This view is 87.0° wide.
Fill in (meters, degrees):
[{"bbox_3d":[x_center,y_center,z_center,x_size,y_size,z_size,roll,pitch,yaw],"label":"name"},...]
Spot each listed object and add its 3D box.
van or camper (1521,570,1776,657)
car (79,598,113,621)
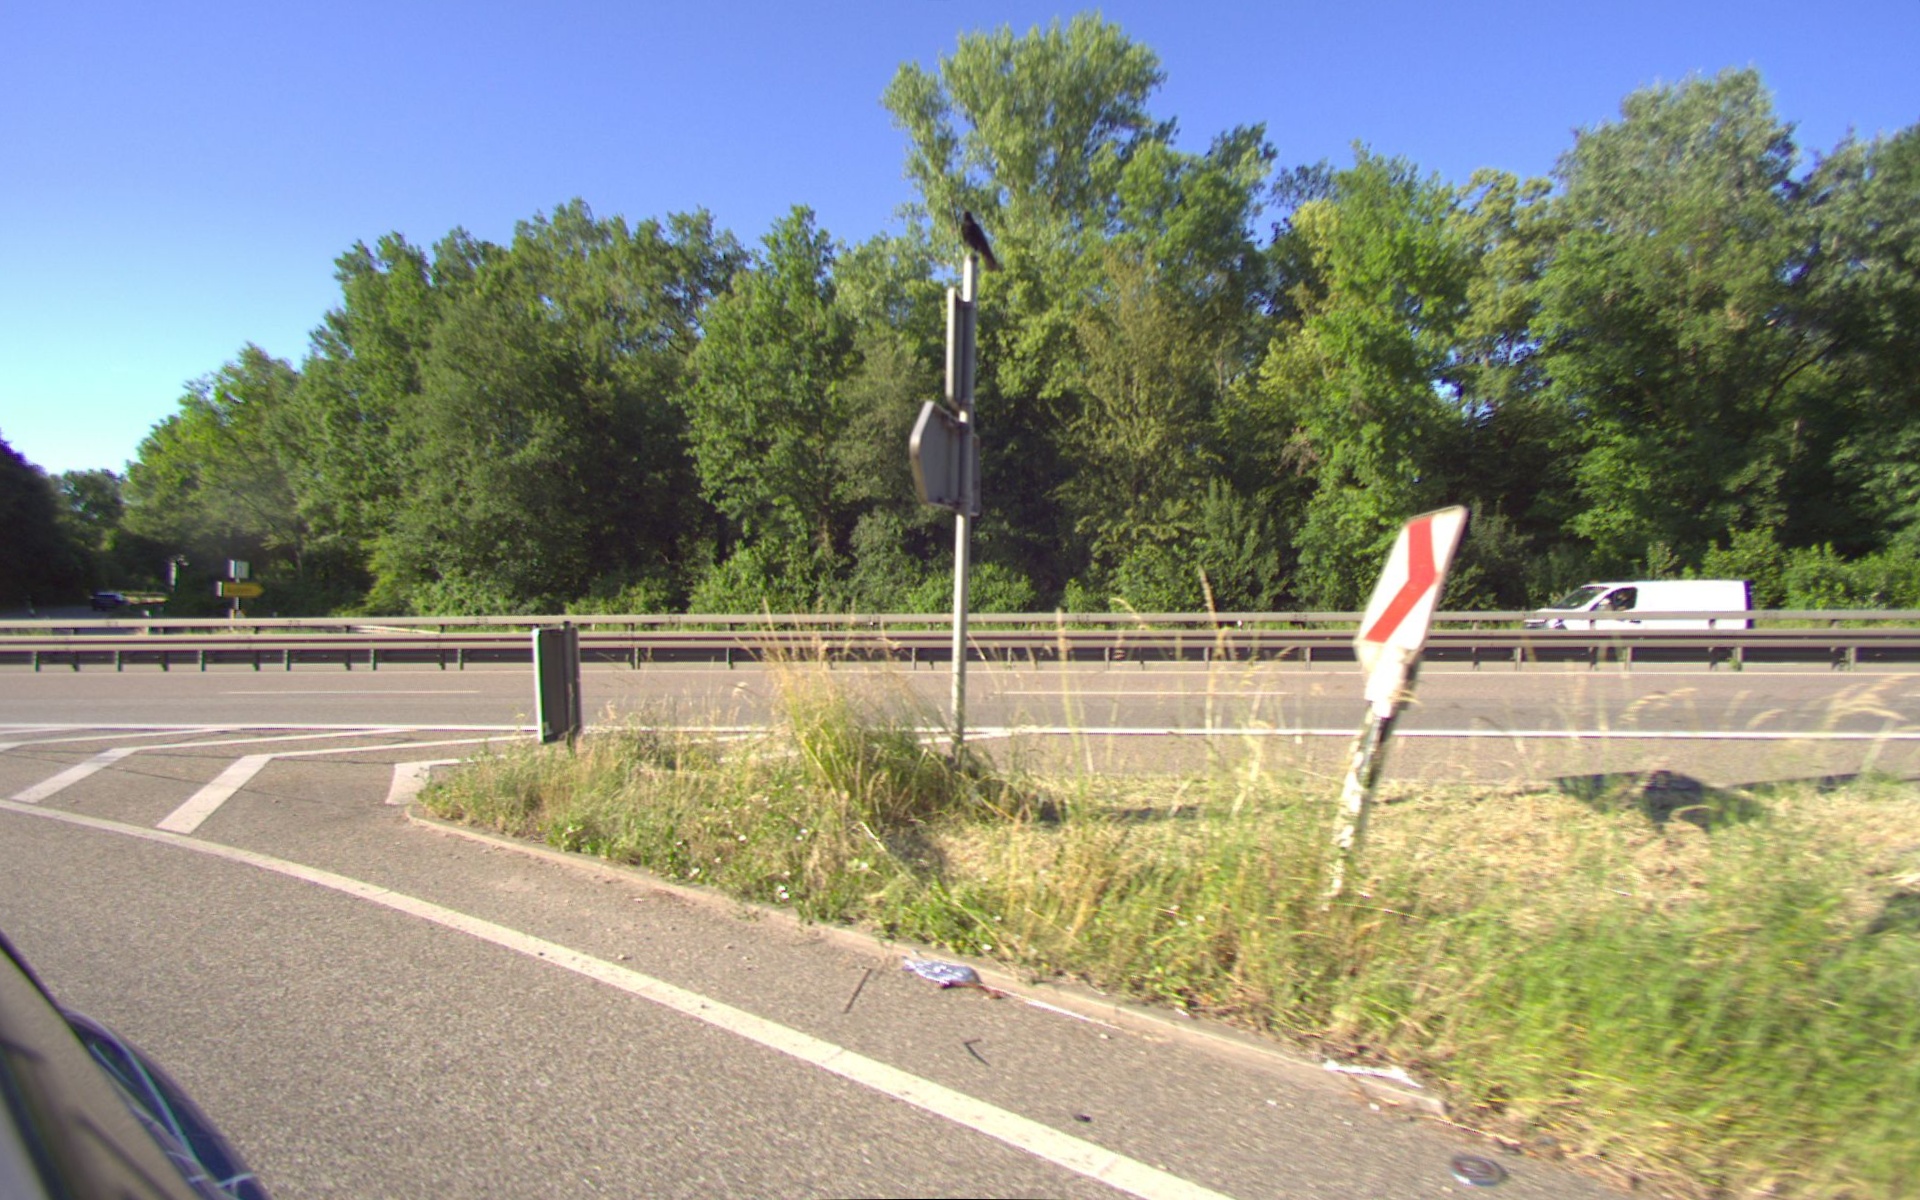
[{"bbox_3d":[16.930,0.342,25.137,4.762,2.029,2.075,0,-1,8],"label":"van or camper"},{"bbox_3d":[-72.915,0.775,85.479,1.968,1.874,4.675,0,1,-38],"label":"car"}]
